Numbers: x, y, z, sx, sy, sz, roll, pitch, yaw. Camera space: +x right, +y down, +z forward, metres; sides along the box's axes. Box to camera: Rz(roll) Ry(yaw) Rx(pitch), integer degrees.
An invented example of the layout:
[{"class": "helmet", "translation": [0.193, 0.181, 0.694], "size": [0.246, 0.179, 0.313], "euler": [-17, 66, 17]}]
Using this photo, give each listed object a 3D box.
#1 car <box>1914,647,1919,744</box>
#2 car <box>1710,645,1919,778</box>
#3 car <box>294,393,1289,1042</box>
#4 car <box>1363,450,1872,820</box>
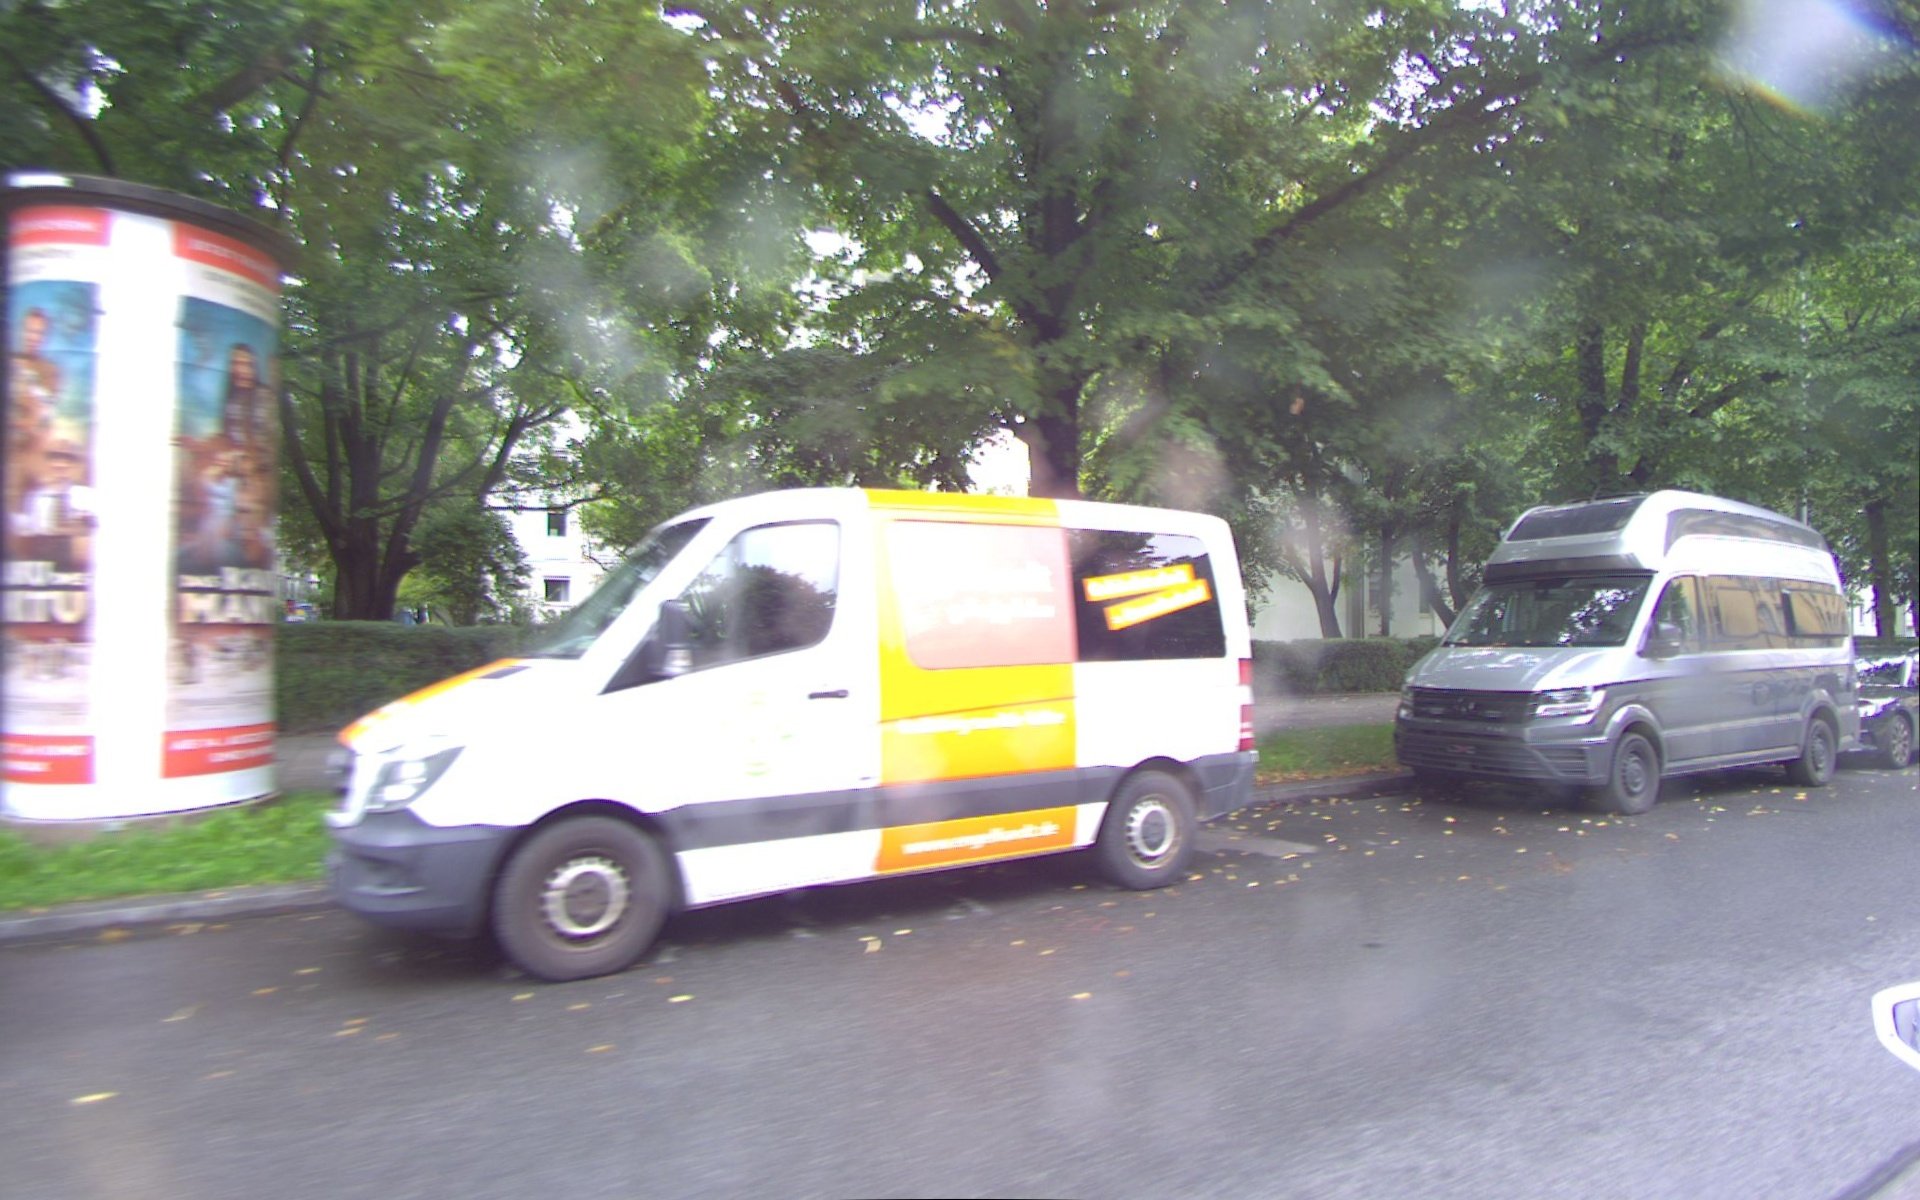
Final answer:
[{"class": "car", "translation": [16.892, 1.524, 15.702], "size": [4.500, 1.457, 1.781], "euler": [3, -3, -31]}, {"class": "car", "translation": [12.086, 1.345, 13.291], "size": [4.523, 1.457, 1.782], "euler": [1, -2, -29]}, {"class": "car", "translation": [-0.685, 0.498, 6.001], "size": [5.347, 2.379, 2.103], "euler": [1, -2, -32]}, {"class": "car", "translation": [6.945, 0.415, 10.310], "size": [6.166, 2.892, 1.935], "euler": [3, -3, -32]}]
